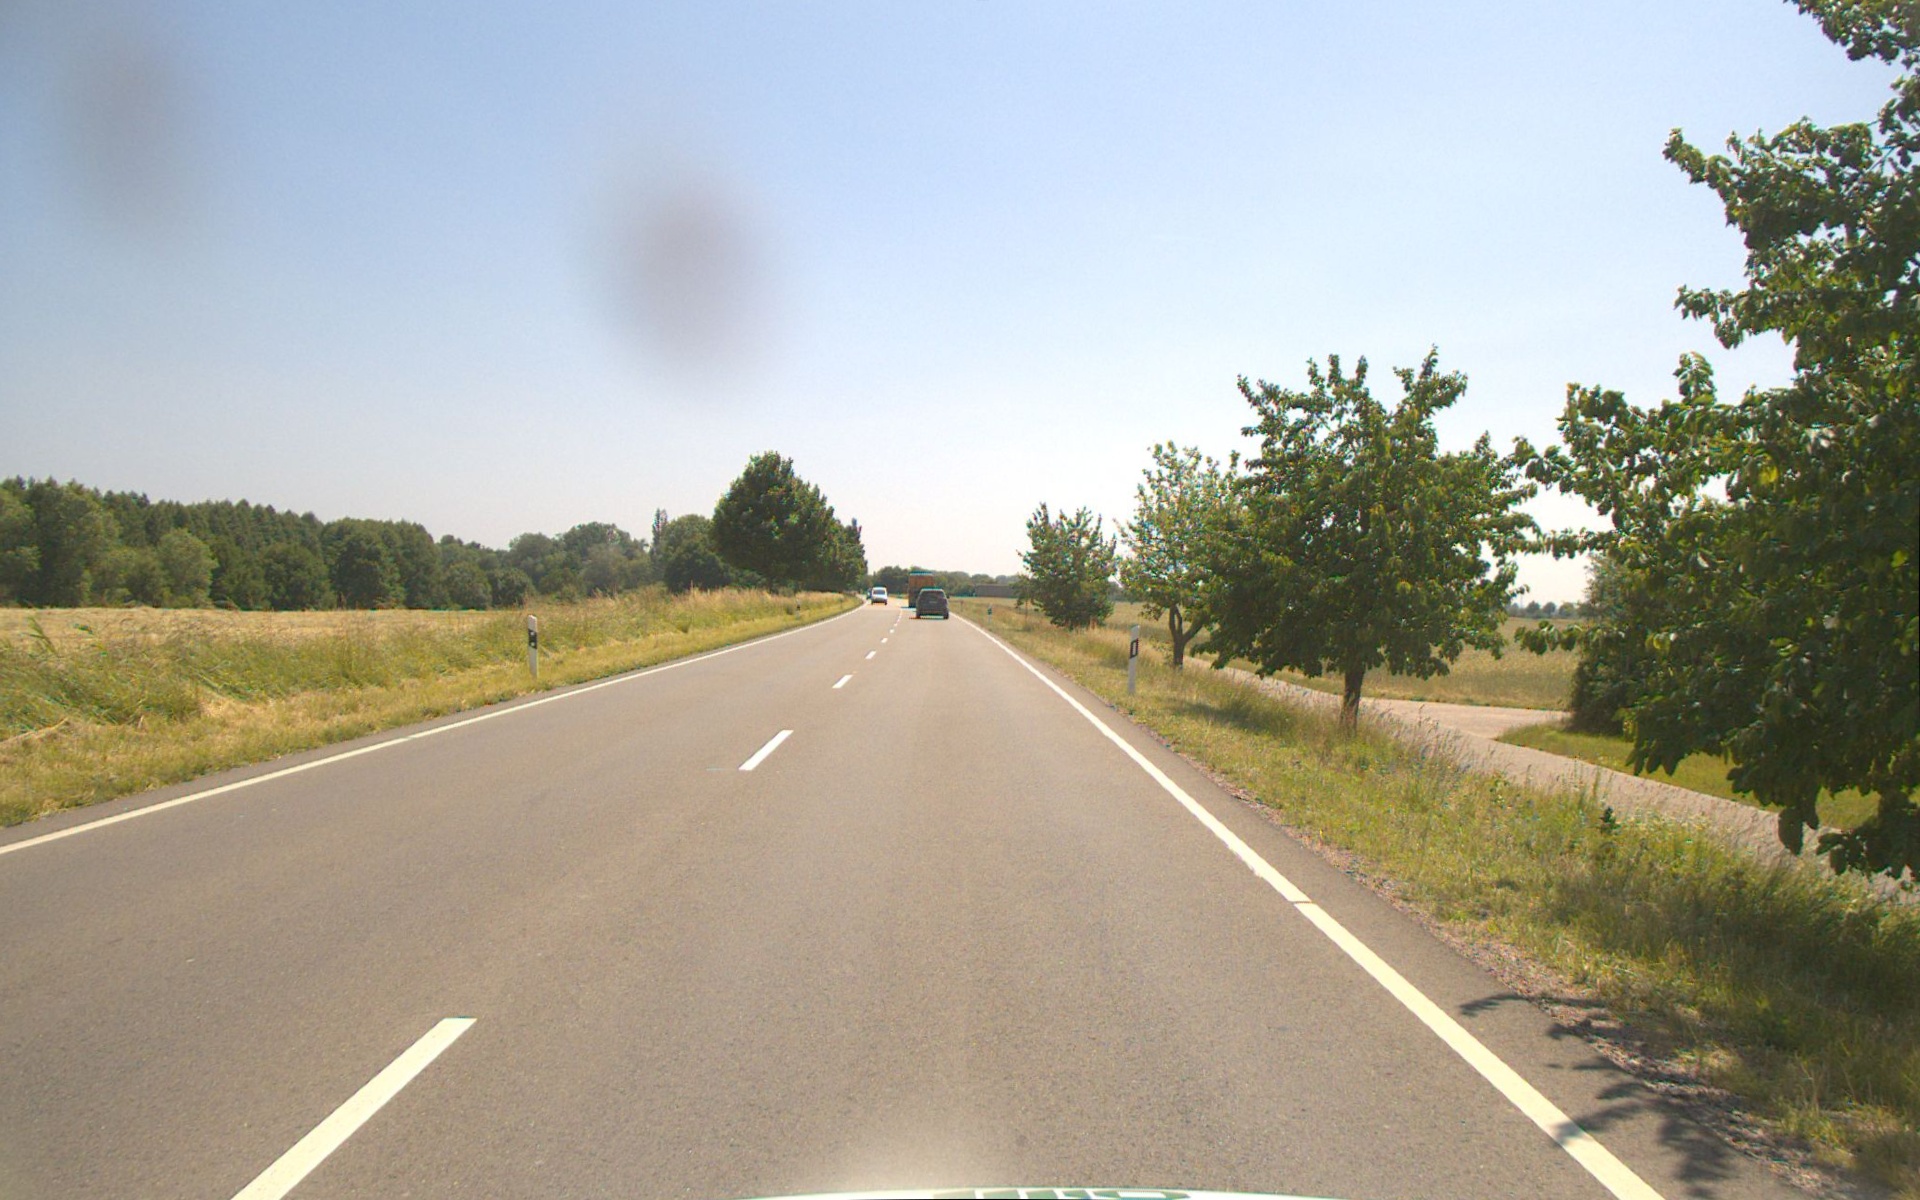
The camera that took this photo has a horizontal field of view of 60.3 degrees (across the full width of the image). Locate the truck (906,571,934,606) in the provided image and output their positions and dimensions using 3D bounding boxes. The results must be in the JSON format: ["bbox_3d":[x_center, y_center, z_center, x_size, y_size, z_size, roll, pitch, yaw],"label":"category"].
[{"bbox_3d":[-3.830,-1.055,156.876,2.323,3.195,8.742,1,0,-3],"label":"truck"}]

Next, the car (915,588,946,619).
[{"bbox_3d":[-1.669,0.214,94.457,1.679,1.723,3.988,1,0,0],"label":"car"}]

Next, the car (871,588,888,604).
[{"bbox_3d":[-8.723,-0.427,179.926,1.750,1.759,4.303,1,0,-1],"label":"car"}]
